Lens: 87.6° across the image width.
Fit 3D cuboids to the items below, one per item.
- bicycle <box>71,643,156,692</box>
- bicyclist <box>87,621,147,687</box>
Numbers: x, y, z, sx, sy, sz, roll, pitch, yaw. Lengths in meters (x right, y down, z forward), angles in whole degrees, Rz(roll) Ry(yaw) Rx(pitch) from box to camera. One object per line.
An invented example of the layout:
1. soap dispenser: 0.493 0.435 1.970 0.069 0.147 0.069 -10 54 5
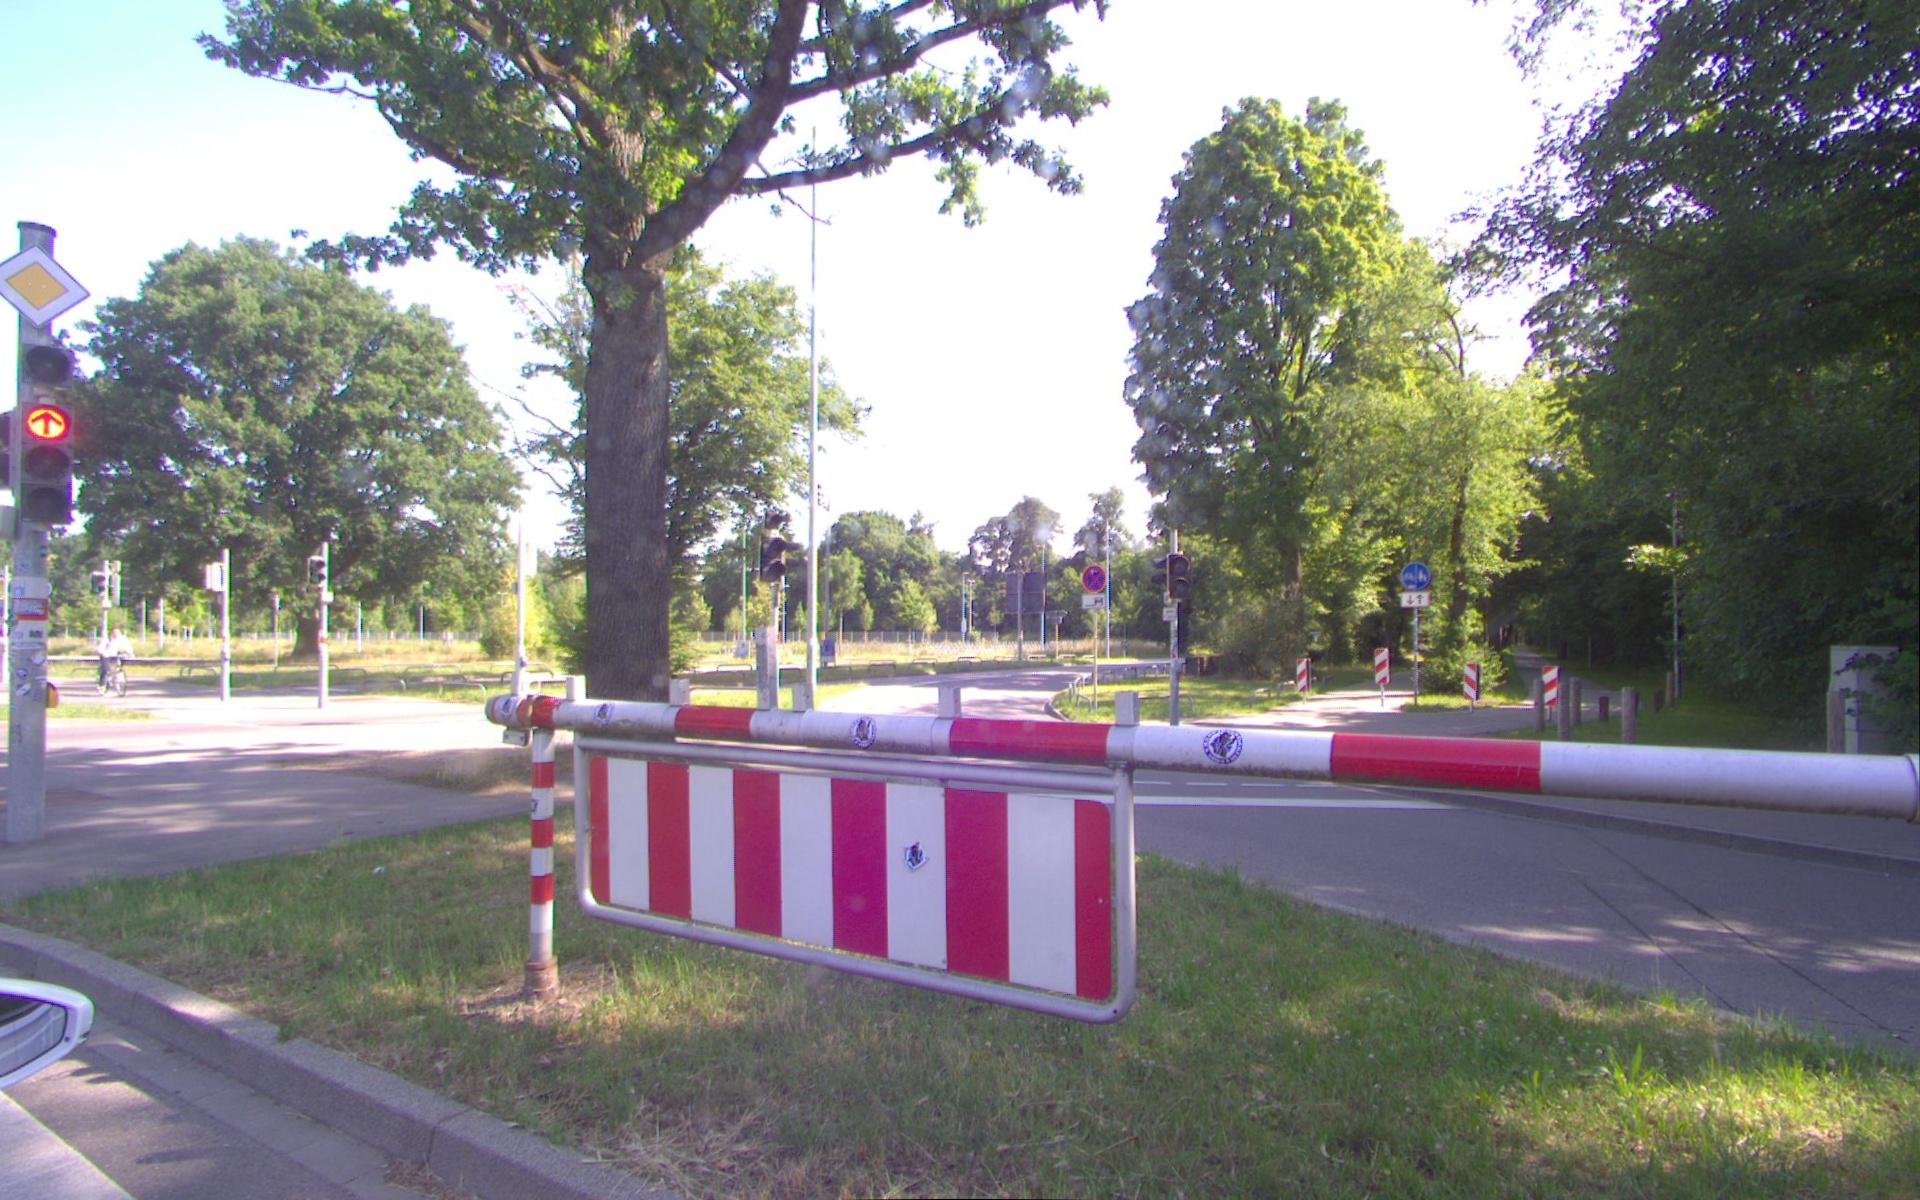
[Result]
1. bicycle: -21.789 1.719 25.784 2.064 1.215 0.725 0 -1 20
2. bicyclist: -21.679 1.369 25.751 1.039 1.660 0.725 0 -1 19
